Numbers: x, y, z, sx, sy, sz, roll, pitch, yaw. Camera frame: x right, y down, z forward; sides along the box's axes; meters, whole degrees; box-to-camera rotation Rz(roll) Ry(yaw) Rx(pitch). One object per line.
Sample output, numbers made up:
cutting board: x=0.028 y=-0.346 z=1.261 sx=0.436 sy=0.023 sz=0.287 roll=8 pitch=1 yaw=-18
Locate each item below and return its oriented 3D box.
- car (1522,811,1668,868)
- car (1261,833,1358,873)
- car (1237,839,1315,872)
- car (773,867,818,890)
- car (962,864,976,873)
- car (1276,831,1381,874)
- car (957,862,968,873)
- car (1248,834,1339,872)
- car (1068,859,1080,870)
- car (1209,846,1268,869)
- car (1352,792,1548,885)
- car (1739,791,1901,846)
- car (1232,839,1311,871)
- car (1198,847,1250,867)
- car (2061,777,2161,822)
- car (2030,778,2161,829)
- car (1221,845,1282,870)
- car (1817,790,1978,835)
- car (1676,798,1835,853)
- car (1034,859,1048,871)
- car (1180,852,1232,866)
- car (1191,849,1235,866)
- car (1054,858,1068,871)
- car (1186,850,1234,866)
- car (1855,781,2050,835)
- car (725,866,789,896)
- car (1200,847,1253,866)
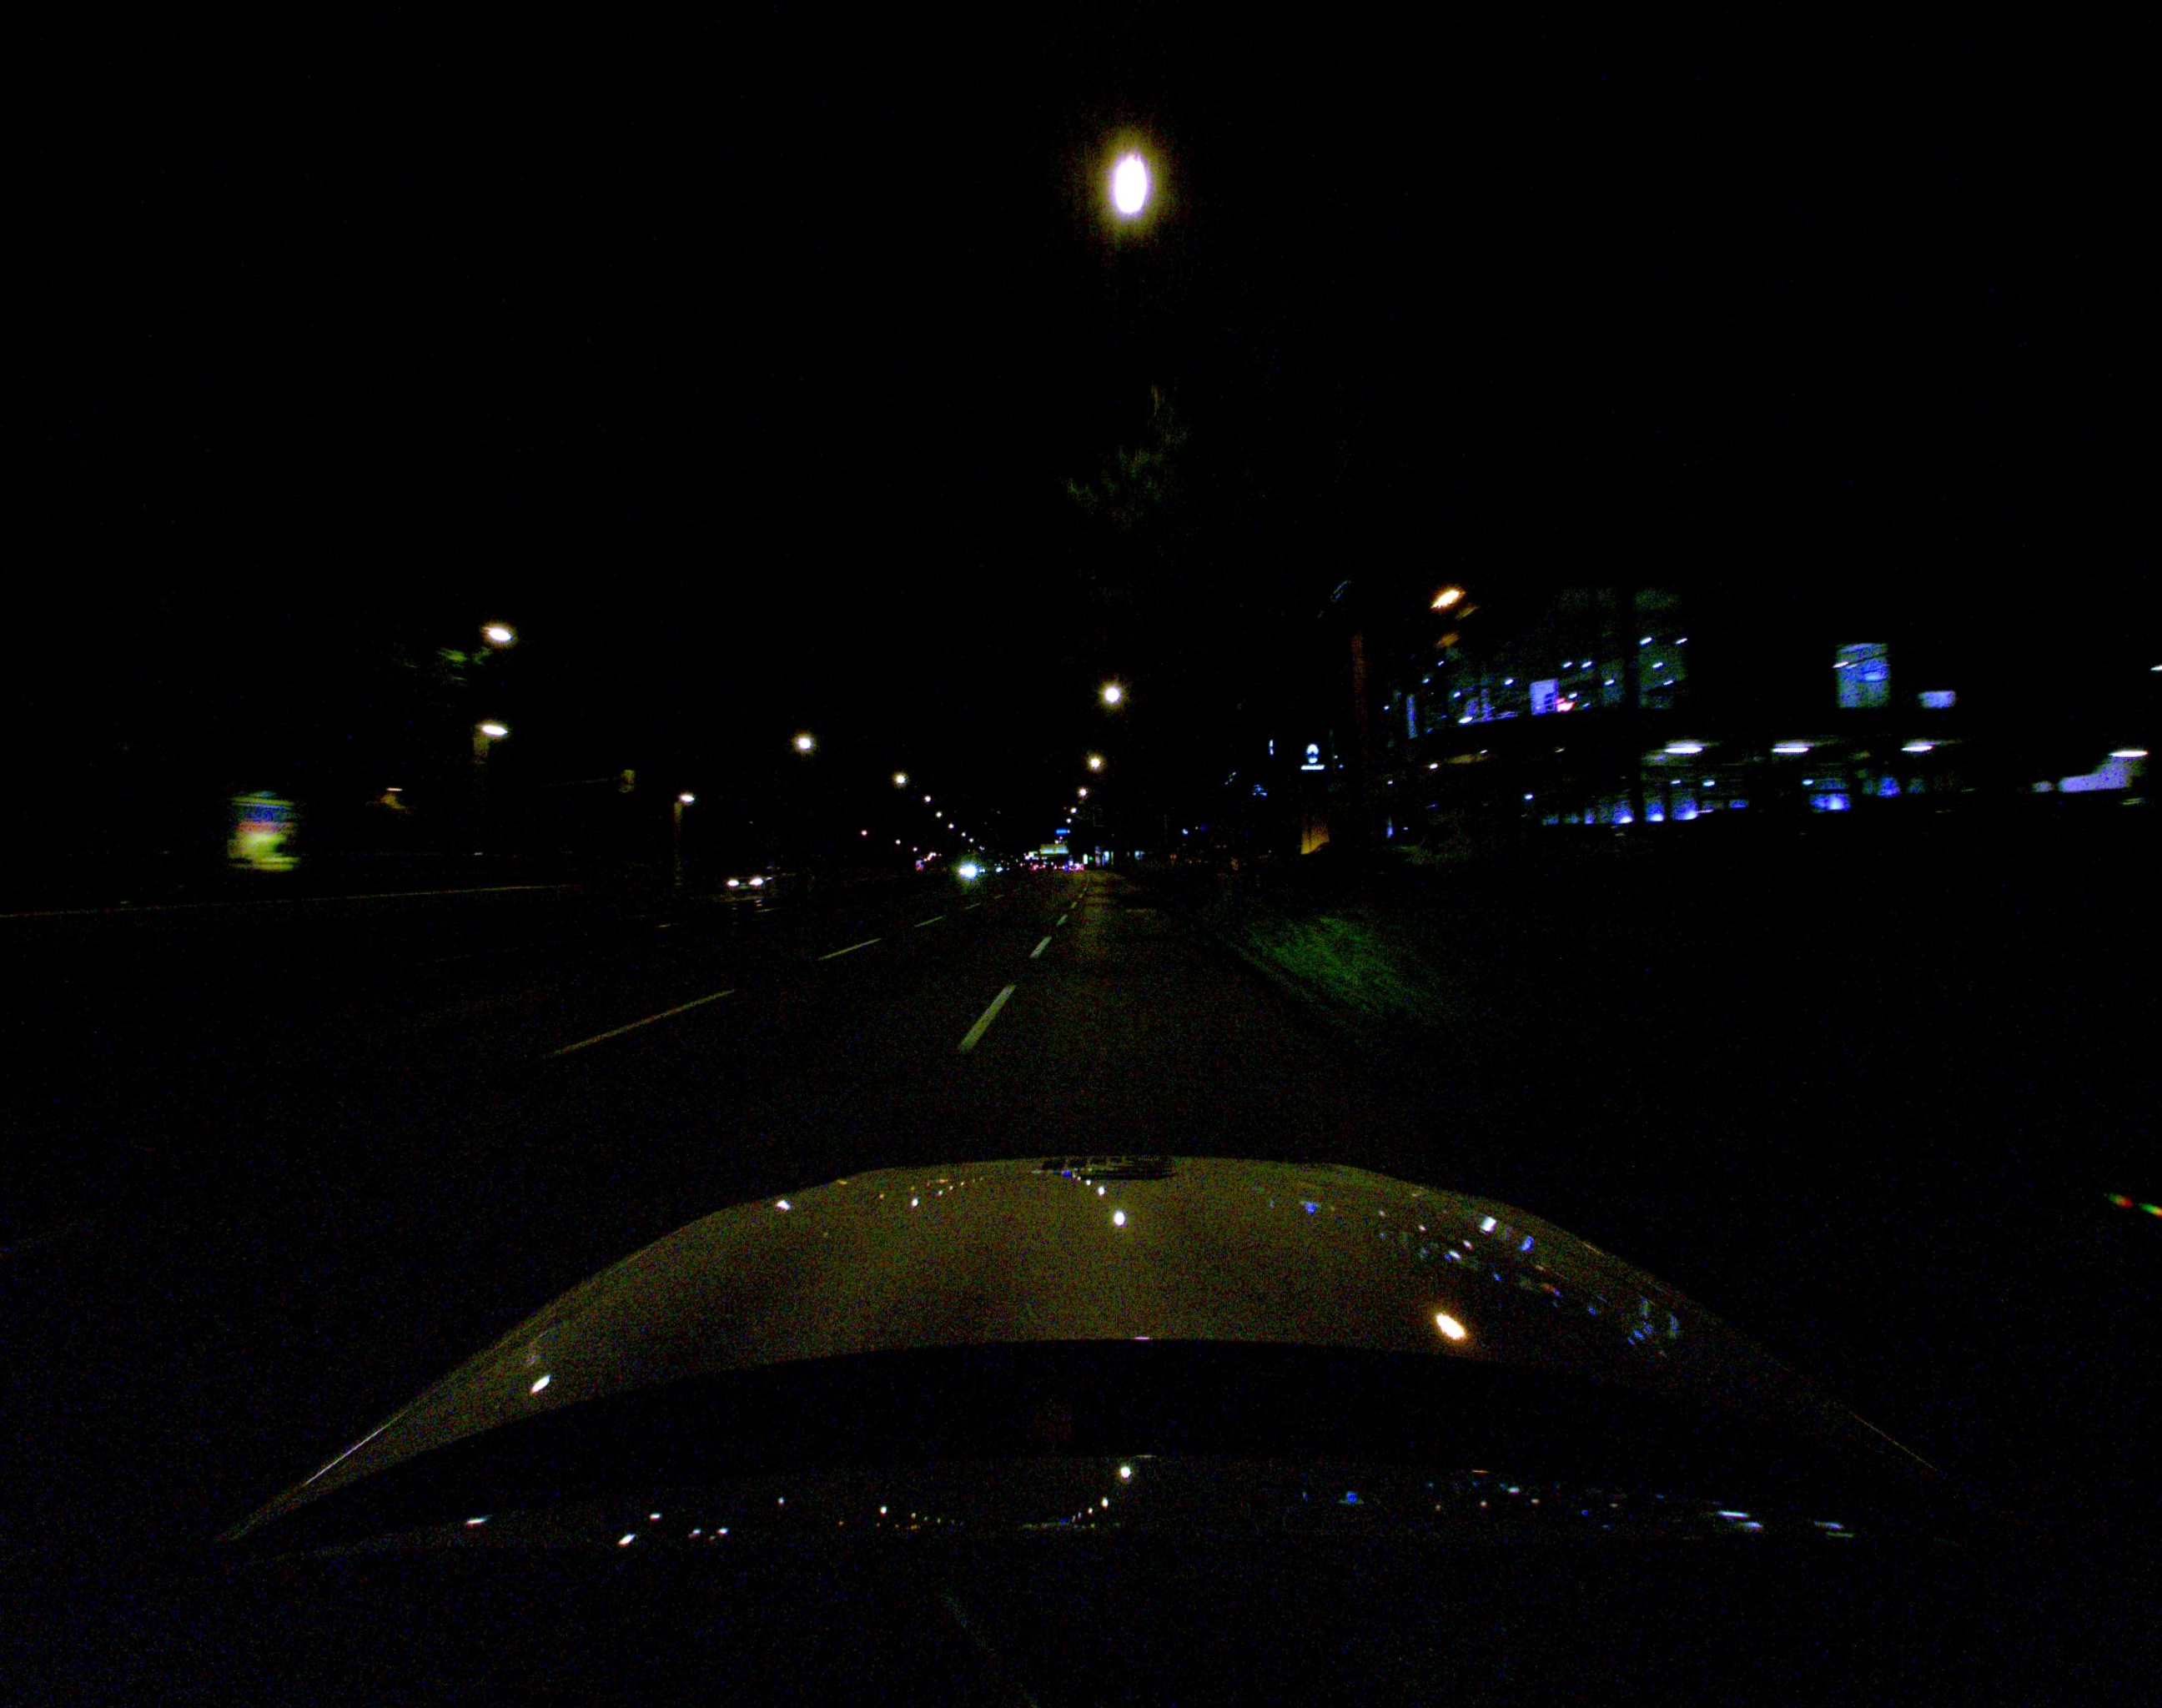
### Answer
car: x=17.836 y=-0.471 z=28.459 sx=1.813 sy=1.712 sz=3.938 roll=-4 pitch=0 yaw=-22
car: x=12.070 y=-0.050 z=43.177 sx=4.462 sy=1.810 sz=1.993 roll=-4 pitch=0 yaw=-11
car: x=11.621 y=0.091 z=48.683 sx=4.082 sy=1.568 sz=1.848 roll=-6 pitch=0 yaw=-11
car: x=-19.864 y=1.692 z=56.821 sx=1.654 sy=1.517 sz=3.912 roll=-1 pitch=-1 yaw=2
car: x=-20.525 y=2.648 z=149.441 sx=1.773 sy=1.713 sz=4.226 roll=-1 pitch=-1 yaw=0
car: x=11.543 y=-0.051 z=38.072 sx=4.203 sy=1.663 sz=1.954 roll=-4 pitch=0 yaw=-11
car: x=-29.442 y=3.387 z=201.737 sx=2.147 sy=2.671 sz=6.932 roll=-4 pitch=-1 yaw=-12
car: x=11.932 y=-0.043 z=45.909 sx=4.462 sy=1.687 sz=1.993 roll=-6 pitch=0 yaw=-11
car: x=-1.370 y=2.132 z=161.850 sx=2.419 sy=2.113 sz=4.825 roll=-1 pitch=-1 yaw=0
car: x=12.092 y=0.259 z=62.582 sx=4.032 sy=1.373 sz=1.816 roll=-5 pitch=0 yaw=-16
car: x=12.770 y=-0.547 z=28.250 sx=6.031 sy=2.529 sz=2.271 roll=-6 pitch=1 yaw=-17
car: x=26.881 y=-1.238 z=29.796 sx=1.784 sy=1.601 sz=3.938 roll=-6 pitch=1 yaw=-22
car: x=12.155 y=0.100 z=52.109 sx=4.460 sy=1.547 sz=1.764 roll=-6 pitch=-1 yaw=-10
car: x=12.429 y=0.235 z=70.633 sx=4.000 sy=1.470 sz=1.821 roll=-3 pitch=0 yaw=-19
car: x=41.532 y=-2.169 z=31.690 sx=1.664 sy=1.396 sz=3.939 roll=-1 pitch=-4 yaw=-20
car: x=39.439 y=-1.944 z=31.214 sx=1.744 sy=1.598 sz=3.670 roll=-7 pitch=1 yaw=-30
car: x=12.016 y=0.238 z=57.389 sx=3.807 sy=1.453 sz=1.709 roll=-4 pitch=0 yaw=-14
car: x=30.160 y=-1.492 z=30.239 sx=1.659 sy=1.335 sz=3.850 roll=-3 pitch=-1 yaw=-22
car: x=24.093 y=-0.981 z=29.270 sx=1.801 sy=1.577 sz=3.938 roll=-6 pitch=1 yaw=-22
car: x=-6.972 y=2.005 z=142.974 sx=2.255 sy=2.014 sz=4.825 roll=-1 pitch=-1 yaw=0
car: x=12.146 y=0.476 z=78.972 sx=4.651 sy=1.264 sz=1.932 roll=-1 pitch=0 yaw=-25
car: x=11.933 y=0.325 z=73.523 sx=3.617 sy=1.433 sz=1.667 roll=-1 pitch=-1 yaw=-24
car: x=-3.502 y=1.858 z=142.317 sx=2.348 sy=2.129 sz=4.825 roll=-1 pitch=-1 yaw=0
car: x=12.050 y=0.384 z=76.251 sx=3.997 sy=1.424 sz=1.898 roll=-1 pitch=0 yaw=-18
car: x=32.839 y=-1.668 z=30.886 sx=2.001 sy=1.662 sz=4.633 roll=-1 pitch=-1 yaw=-22
car: x=-17.447 y=1.466 z=44.052 sx=1.779 sy=1.497 sz=4.173 roll=-1 pitch=-2 yaw=0
car: x=12.172 y=0.211 z=68.152 sx=4.003 sy=1.391 sz=1.813 roll=-3 pitch=1 yaw=-22
